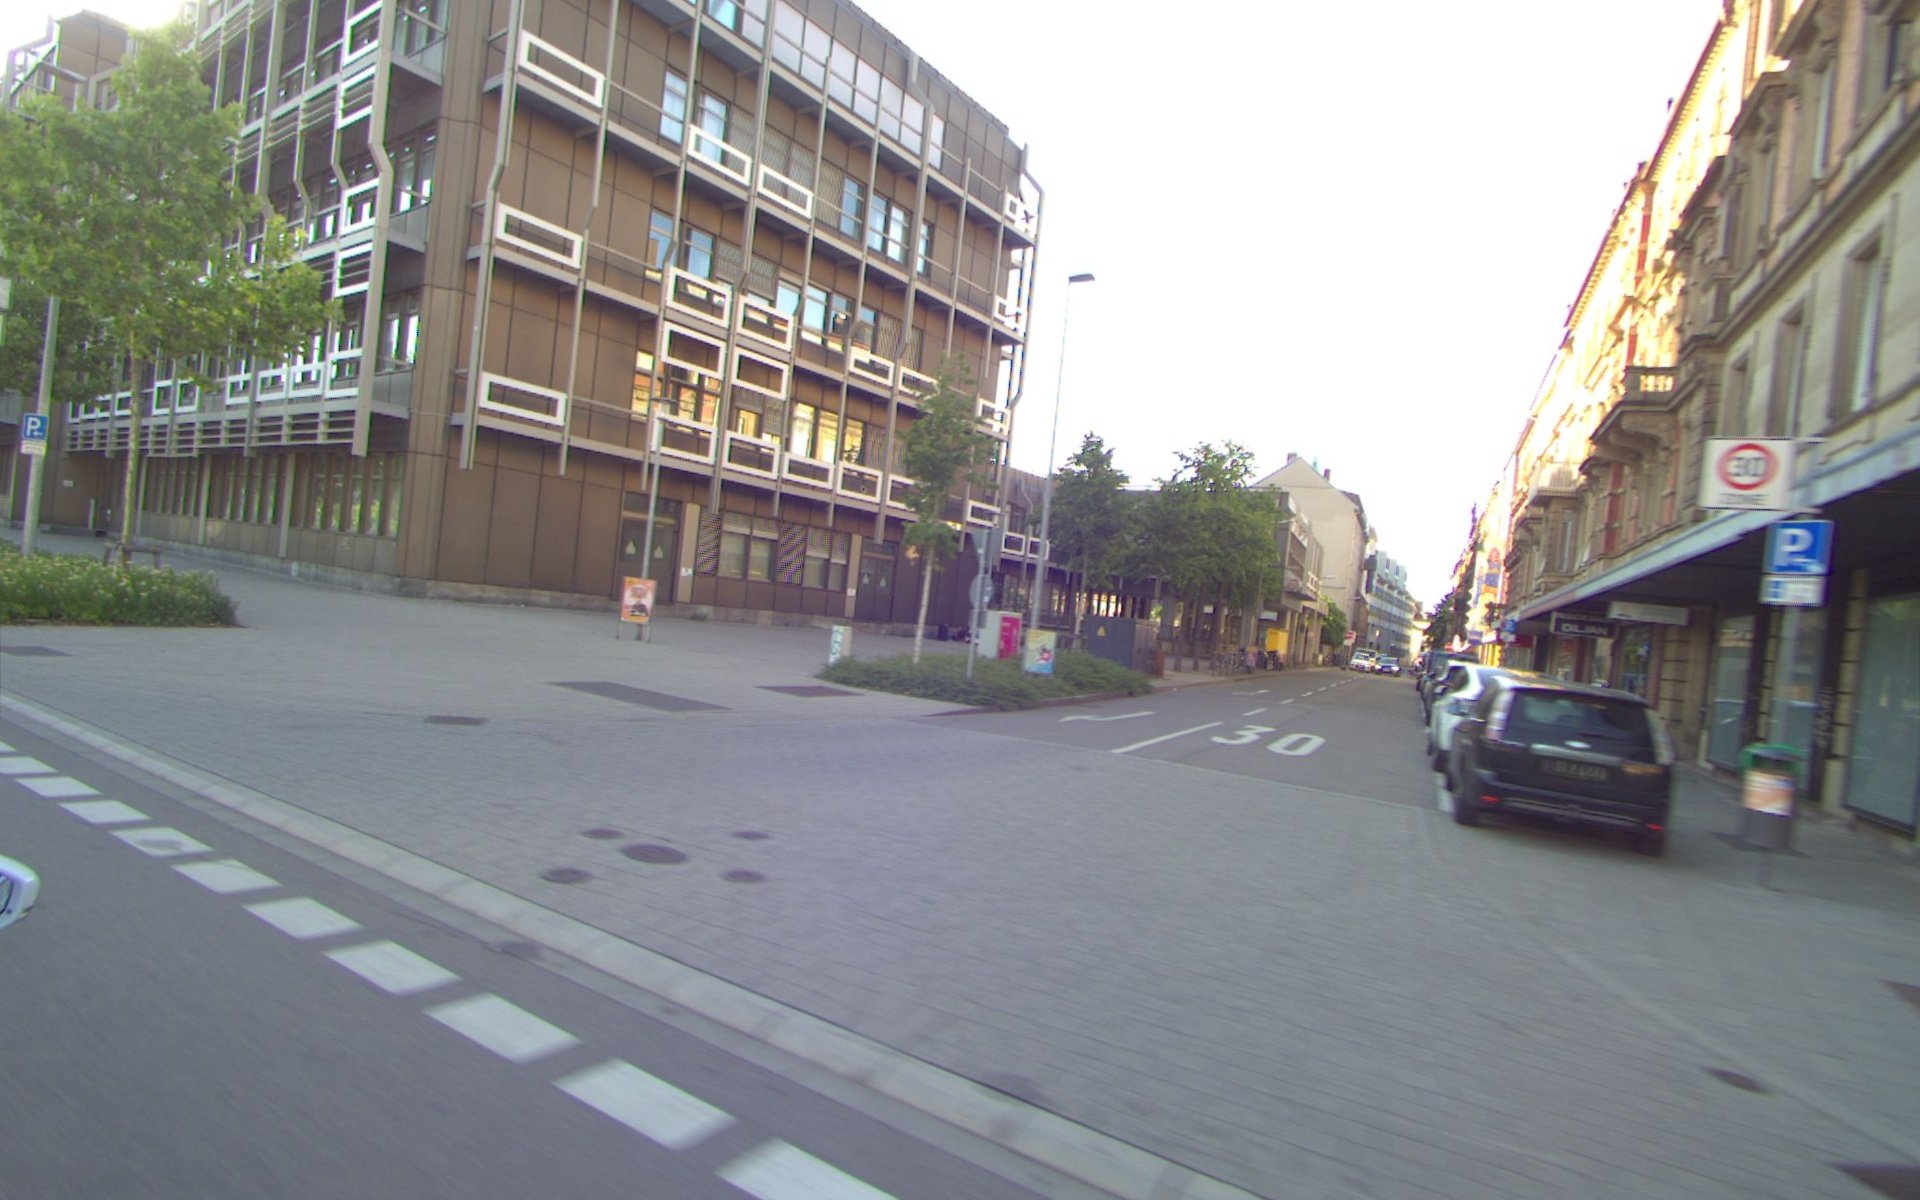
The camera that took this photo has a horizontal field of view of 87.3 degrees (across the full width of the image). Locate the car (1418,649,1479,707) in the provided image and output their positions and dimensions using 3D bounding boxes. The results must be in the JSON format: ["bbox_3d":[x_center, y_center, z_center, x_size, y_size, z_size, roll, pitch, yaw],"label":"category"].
[{"bbox_3d":[19.047,3.032,39.372,1.829,1.951,4.052,5,-1,24],"label":"car"}]

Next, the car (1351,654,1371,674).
[{"bbox_3d":[33.632,5.384,84.411,1.346,1.517,2.952,6,0,24],"label":"car"}]

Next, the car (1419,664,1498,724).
[{"bbox_3d":[15.022,2.802,30.499,1.829,1.499,4.205,5,-2,24],"label":"car"}]

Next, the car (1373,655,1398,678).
[{"bbox_3d":[34.047,5.357,80.452,1.629,1.629,3.378,5,-1,24],"label":"car"}]

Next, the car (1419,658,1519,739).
[{"bbox_3d":[12.658,2.404,25.251,1.843,1.643,4.453,5,-2,24],"label":"car"}]

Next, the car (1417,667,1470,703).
[{"bbox_3d":[21.533,3.766,44.913,1.829,1.347,4.068,5,-2,24],"label":"car"}]

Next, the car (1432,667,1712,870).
[{"bbox_3d":[6.098,1.544,10.559,1.829,1.467,4.274,5,-2,24],"label":"car"}]

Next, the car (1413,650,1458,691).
[{"bbox_3d":[26.751,3.963,56.661,2.023,2.003,4.042,5,-1,24],"label":"car"}]

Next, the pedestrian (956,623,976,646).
[{"bbox_3d":[0.239,1.415,41.538,0.702,0.831,0.558,6,0,-5],"label":"pedestrian"}]

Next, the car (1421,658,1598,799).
[{"bbox_3d":[8.149,1.814,15.320,1.829,1.614,4.553,5,-2,24],"label":"car"}]

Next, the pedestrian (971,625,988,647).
[{"bbox_3d":[0.803,1.508,42.224,0.590,0.831,0.542,6,0,-5],"label":"pedestrian"}]

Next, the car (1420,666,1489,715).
[{"bbox_3d":[16.940,3.079,34.630,1.829,1.408,3.870,5,-2,24],"label":"car"}]

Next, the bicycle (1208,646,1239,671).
[{"bbox_3d":[13.059,2.903,49.899,0.576,1.055,1.917,6,0,-13],"label":"bicycle"}]
